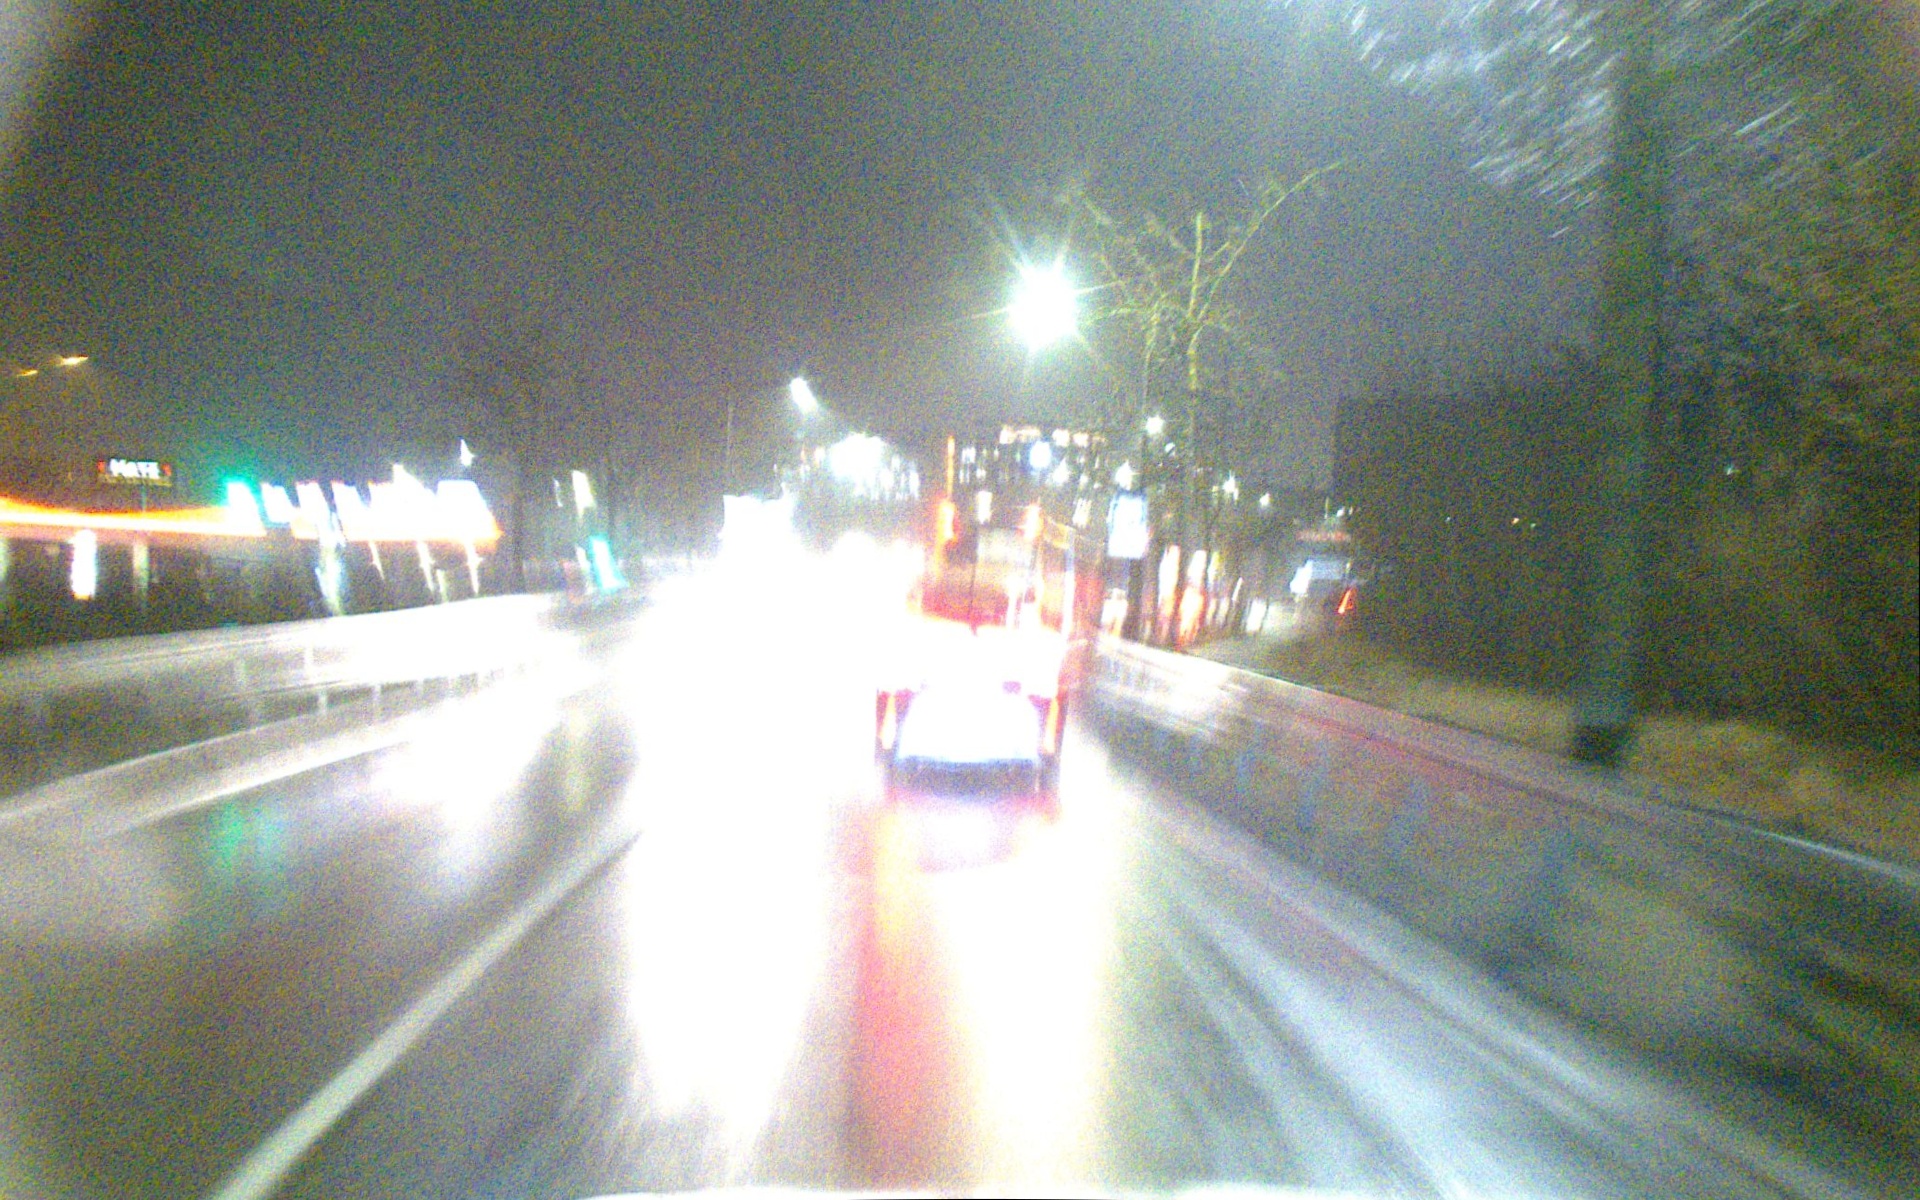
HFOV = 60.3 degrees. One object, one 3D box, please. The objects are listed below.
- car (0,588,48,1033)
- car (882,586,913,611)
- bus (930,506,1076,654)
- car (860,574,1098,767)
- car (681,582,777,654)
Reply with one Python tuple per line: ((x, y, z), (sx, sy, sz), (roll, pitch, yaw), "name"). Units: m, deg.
((-3.849, 0.686, 3.447), (1.725, 1.456, 4.324), (1, 0, -4), "car")
((-3.961, -0.095, 106.054), (1.789, 1.530, 4.187), (3, 0, 0), "car")
((1.262, -0.481, 41.030), (2.979, 3.268, 9.056), (0, 0, 6), "bus")
((0.228, 0.549, 15.724), (1.952, 1.551, 4.001), (1, 1, 2), "car")
((-5.078, 0.357, 36.760), (1.788, 1.427, 4.033), (2, 1, -4), "car")
